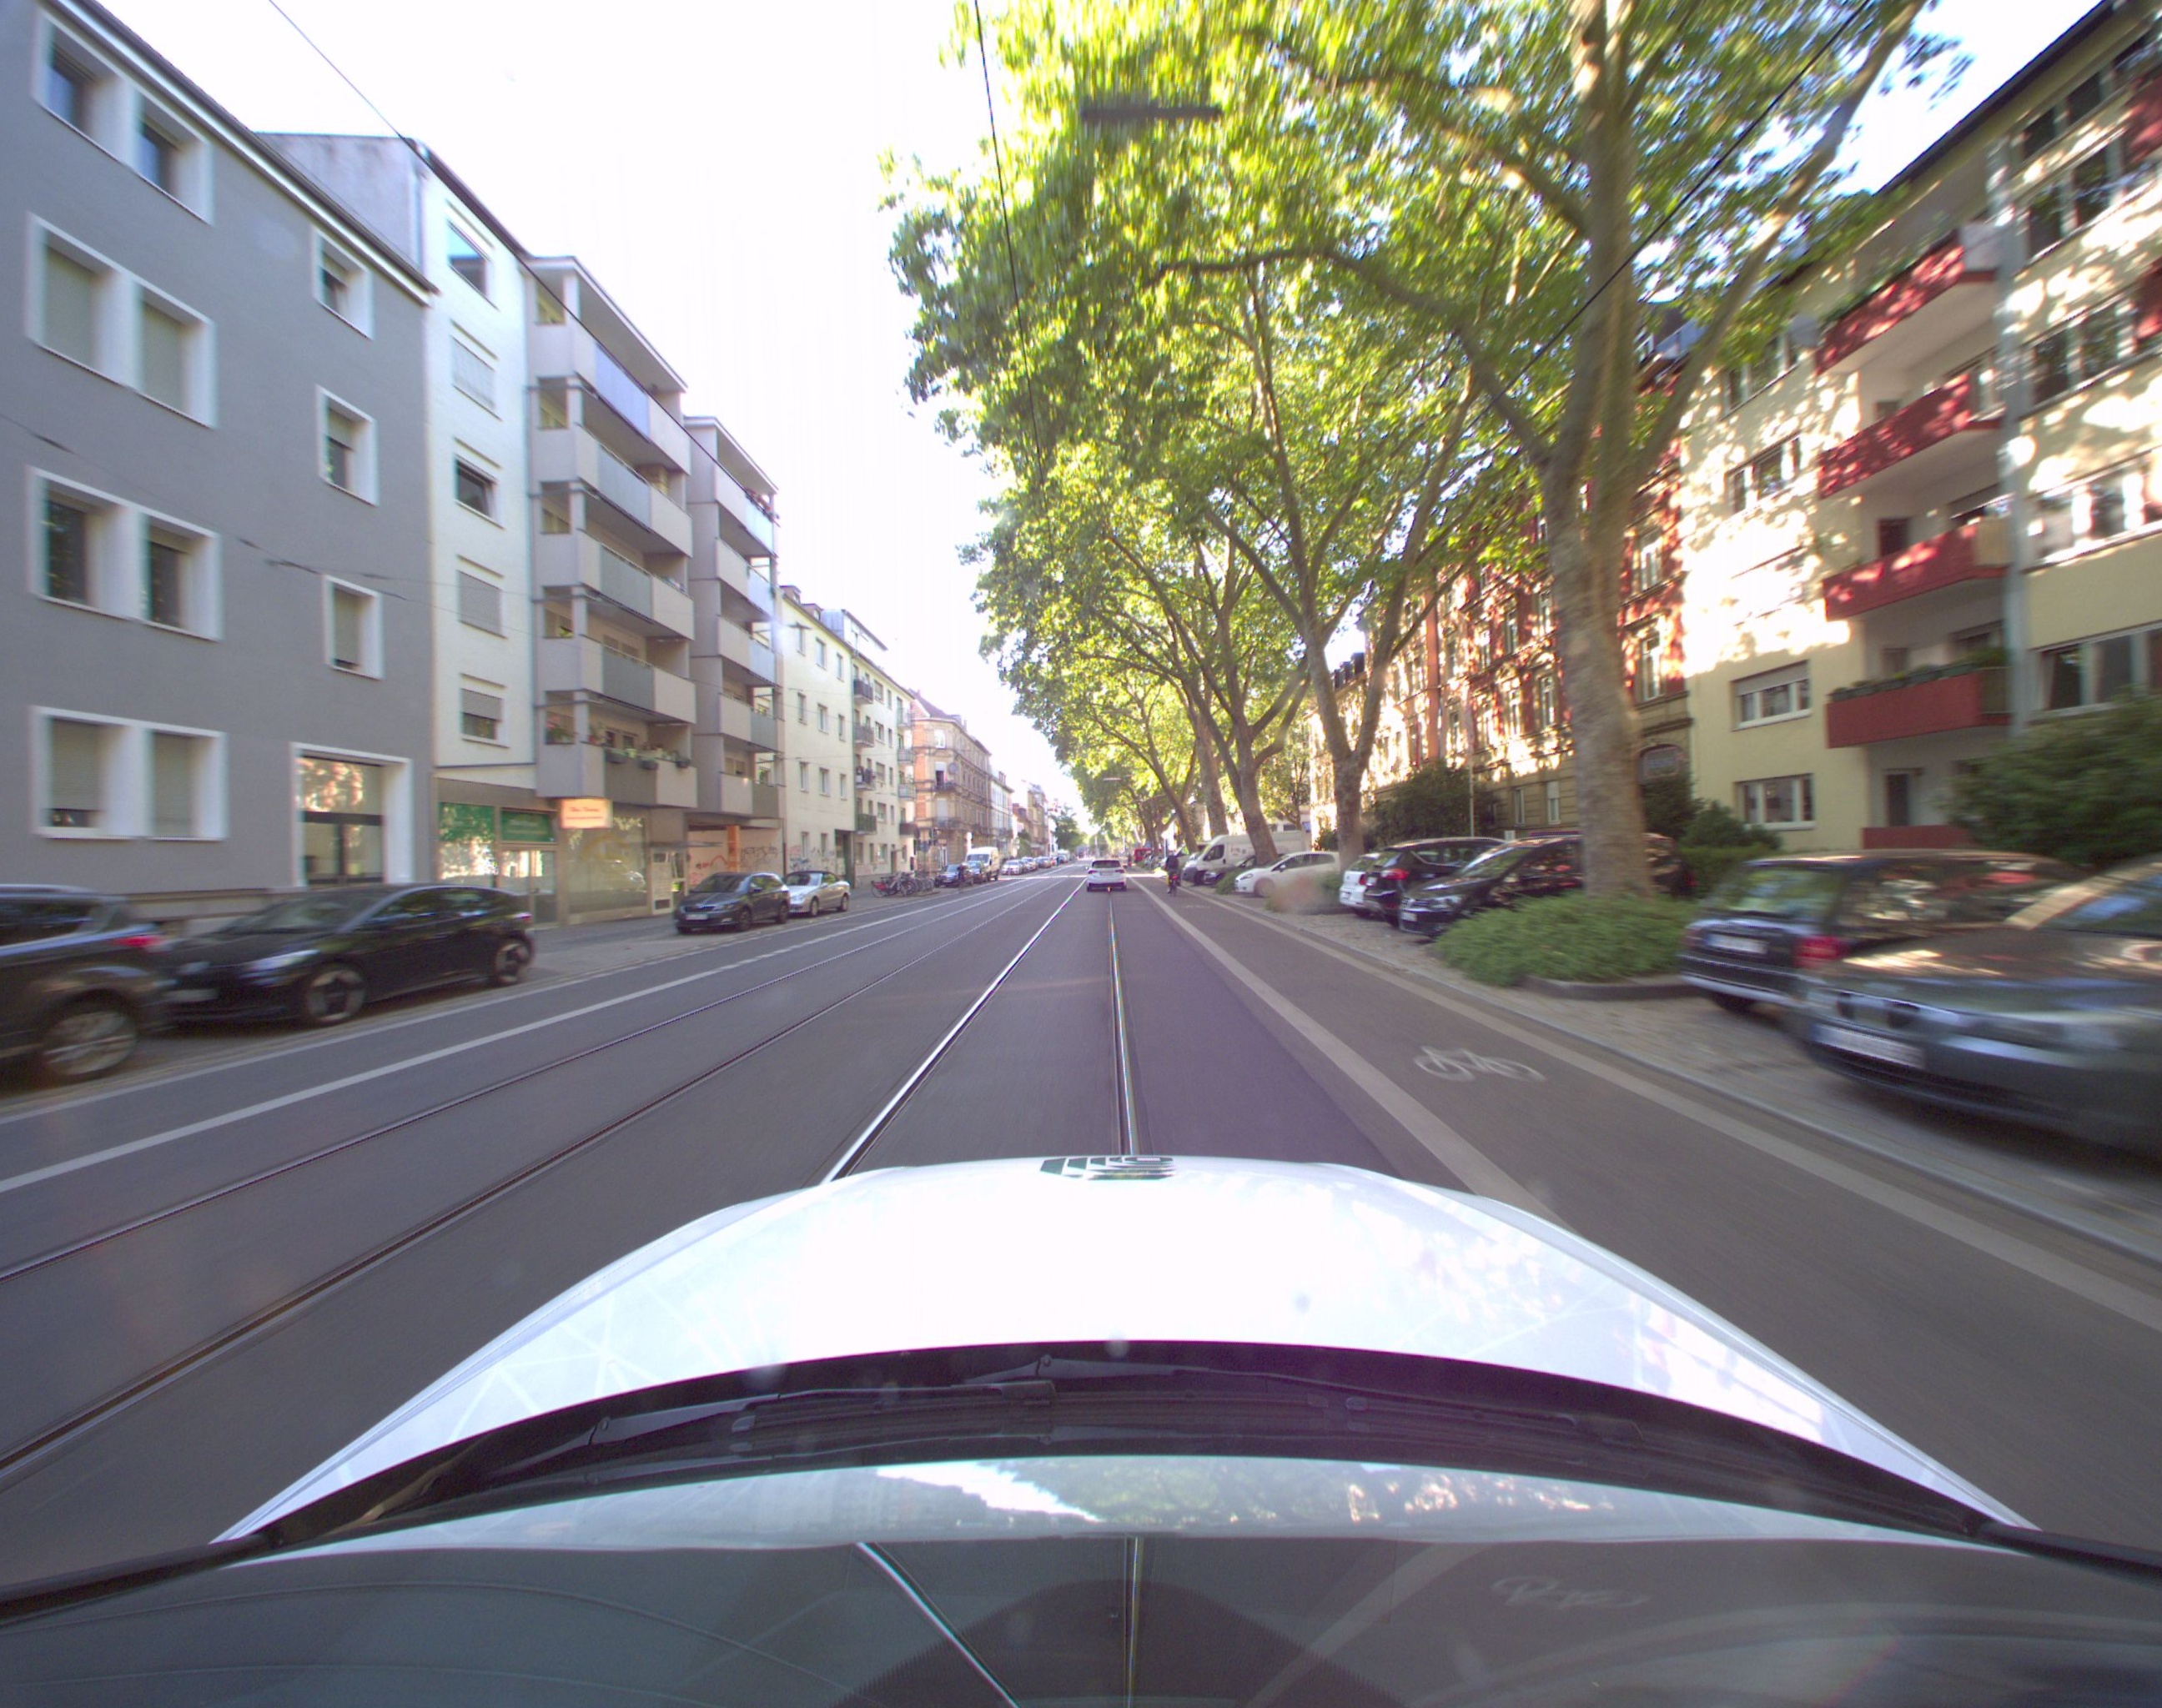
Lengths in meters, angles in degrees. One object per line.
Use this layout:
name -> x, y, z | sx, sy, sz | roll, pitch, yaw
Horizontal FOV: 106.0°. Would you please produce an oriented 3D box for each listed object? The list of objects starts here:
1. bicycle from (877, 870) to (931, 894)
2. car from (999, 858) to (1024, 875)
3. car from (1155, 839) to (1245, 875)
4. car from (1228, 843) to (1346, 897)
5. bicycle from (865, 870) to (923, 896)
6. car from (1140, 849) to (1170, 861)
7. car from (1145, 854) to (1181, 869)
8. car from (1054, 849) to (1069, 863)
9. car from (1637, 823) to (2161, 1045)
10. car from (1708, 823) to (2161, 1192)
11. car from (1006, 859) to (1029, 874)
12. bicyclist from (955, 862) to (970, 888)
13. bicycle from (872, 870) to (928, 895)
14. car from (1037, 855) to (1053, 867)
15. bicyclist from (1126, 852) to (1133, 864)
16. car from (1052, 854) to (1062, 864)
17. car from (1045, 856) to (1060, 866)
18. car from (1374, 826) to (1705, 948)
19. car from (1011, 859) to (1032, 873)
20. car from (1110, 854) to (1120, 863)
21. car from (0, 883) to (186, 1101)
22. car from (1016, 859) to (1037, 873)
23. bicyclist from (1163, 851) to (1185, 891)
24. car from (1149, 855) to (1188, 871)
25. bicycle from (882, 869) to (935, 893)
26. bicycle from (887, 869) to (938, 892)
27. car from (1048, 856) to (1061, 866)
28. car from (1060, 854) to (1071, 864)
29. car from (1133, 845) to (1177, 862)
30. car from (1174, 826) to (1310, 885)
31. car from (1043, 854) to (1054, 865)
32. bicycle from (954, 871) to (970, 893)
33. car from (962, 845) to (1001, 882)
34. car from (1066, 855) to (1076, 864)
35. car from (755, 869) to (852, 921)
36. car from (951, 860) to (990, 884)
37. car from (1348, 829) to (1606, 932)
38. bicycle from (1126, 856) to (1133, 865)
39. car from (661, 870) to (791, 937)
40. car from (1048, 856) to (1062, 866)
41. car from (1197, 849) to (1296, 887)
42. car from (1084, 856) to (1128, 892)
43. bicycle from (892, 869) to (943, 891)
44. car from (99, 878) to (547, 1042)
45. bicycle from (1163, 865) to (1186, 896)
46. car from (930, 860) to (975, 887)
bicycle -> -8.679, 1.355, 40.063 | 2.519, 1.172, 0.718 | 0, -2, -4
car -> -6.964, 1.259, 82.369 | 1.986, 1.530, 4.002 | -2, 0, 2
car -> 8.529, 0.216, 58.782 | 6.111, 2.282, 2.528 | -2, 0, -1
car -> 6.991, 0.529, 27.920 | 3.618, 1.666, 1.824 | -2, 0, 3
bicycle -> -8.779, 1.350, 38.295 | 2.545, 1.172, 0.873 | 1, -2, -38
car -> 10.423, 0.200, 114.308 | 4.035, 1.540, 2.000 | -2, 0, 1
car -> 9.527, 0.856, 94.797 | 4.035, 1.540, 2.000 | -2, 0, 1
car -> -4.354, 0.530, 184.941 | 2.957, 3.155, 5.849 | -1, -1, 2
car -> 7.259, 0.562, 6.818 | 3.974, 1.514, 1.761 | -2, 0, 0
car -> 6.200, 0.587, 4.395 | 4.129, 1.514, 1.931 | -2, 0, 0
car -> -6.698, 1.294, 86.594 | 1.986, 1.530, 4.002 | -2, 0, 2
bicyclist -> -6.173, 1.091, 42.348 | 0.595, 1.286, 0.916 | -2, 0, -1
bicycle -> -8.690, 1.353, 39.176 | 2.520, 1.172, 0.718 | 0, -2, -5
car -> -5.233, 1.028, 118.357 | 1.986, 1.640, 4.001 | -1, -1, 2
bicyclist -> 5.859, 0.490, 98.384 | 0.647, 1.344, 0.934 | -2, 0, 0
car -> -5.172, 1.146, 177.792 | 1.986, 2.014, 4.001 | -1, -1, 2
car -> -4.435, 1.100, 127.384 | 1.986, 1.640, 4.001 | -1, -1, 2
car -> 7.126, 0.489, 12.992 | 4.221, 1.666, 1.848 | -2, 0, 0
car -> -6.664, 1.341, 91.521 | 1.986, 1.530, 4.002 | -2, 0, 2
car -> 6.491, 0.865, 155.557 | 1.755, 1.475, 4.002 | -2, 0, 2
car -> -9.284, 1.100, 5.530 | 1.697, 1.650, 4.241 | 0, 0, 0
car -> -6.437, 1.383, 96.328 | 1.986, 1.530, 4.002 | -2, 0, 2
bicyclist -> 3.420, 0.612, 30.126 | 0.676, 1.443, 1.047 | -2, 0, 2
car -> 9.429, 0.972, 88.282 | 4.035, 1.540, 2.000 | -2, 0, 1
bicycle -> -8.674, 1.354, 41.051 | 2.519, 1.172, 0.718 | 0, -2, -4
bicycle -> -8.653, 1.354, 41.901 | 2.519, 1.172, 0.718 | 0, -2, -4
car -> -4.656, 1.265, 144.186 | 1.986, 1.640, 4.001 | -1, -1, 2
car -> -3.225, 0.989, 165.928 | 1.986, 2.013, 4.002 | -2, 0, 2
car -> 10.826, -0.074, 119.004 | 6.111, 2.282, 2.528 | -2, 0, -1
car -> 7.847, 0.073, 40.166 | 6.111, 2.635, 2.528 | -2, 0, -1
car -> -6.492, 1.082, 163.511 | 1.986, 2.013, 4.002 | -2, 0, 2
bicycle -> -6.160, 1.454, 42.289 | 0.603, 1.071, 1.582 | -2, 0, -1
car -> -7.515, 0.696, 62.044 | 2.170, 2.597, 4.950 | -2, 0, 2
car -> -2.394, 1.227, 192.009 | 1.986, 2.013, 4.002 | -2, 0, 2
car -> -8.787, 1.264, 26.136 | 1.478, 1.403, 3.994 | -2, 0, 4
car -> -7.575, 1.217, 56.096 | 1.986, 1.530, 4.002 | -2, 0, 2
car -> 7.305, 0.475, 15.296 | 3.974, 1.680, 1.723 | -2, 0, 0
bicycle -> 5.878, 0.815, 98.406 | 0.647, 1.071, 1.583 | -2, 0, 0
car -> -9.041, 1.212, 21.098 | 1.648, 1.437, 3.836 | -2, 0, 0
car -> -4.438, 1.210, 138.828 | 1.986, 1.640, 4.001 | -1, -1, 2
car -> 7.542, 0.614, 37.335 | 4.042, 1.540, 1.997 | -2, 0, -5
car -> 1.111, 0.833, 35.886 | 1.755, 1.384, 4.002 | -2, 0, 2
bicycle -> -8.616, 1.363, 42.955 | 2.520, 1.172, 0.718 | 0, -2, -5
car -> -9.191, 1.152, 10.498 | 1.696, 1.544, 4.243 | 0, 0, 2
bicycle -> 3.435, 0.951, 30.162 | 0.679, 1.071, 1.782 | -2, 0, 2
car -> -7.905, 1.174, 50.318 | 1.986, 1.530, 4.002 | -2, 0, 2
